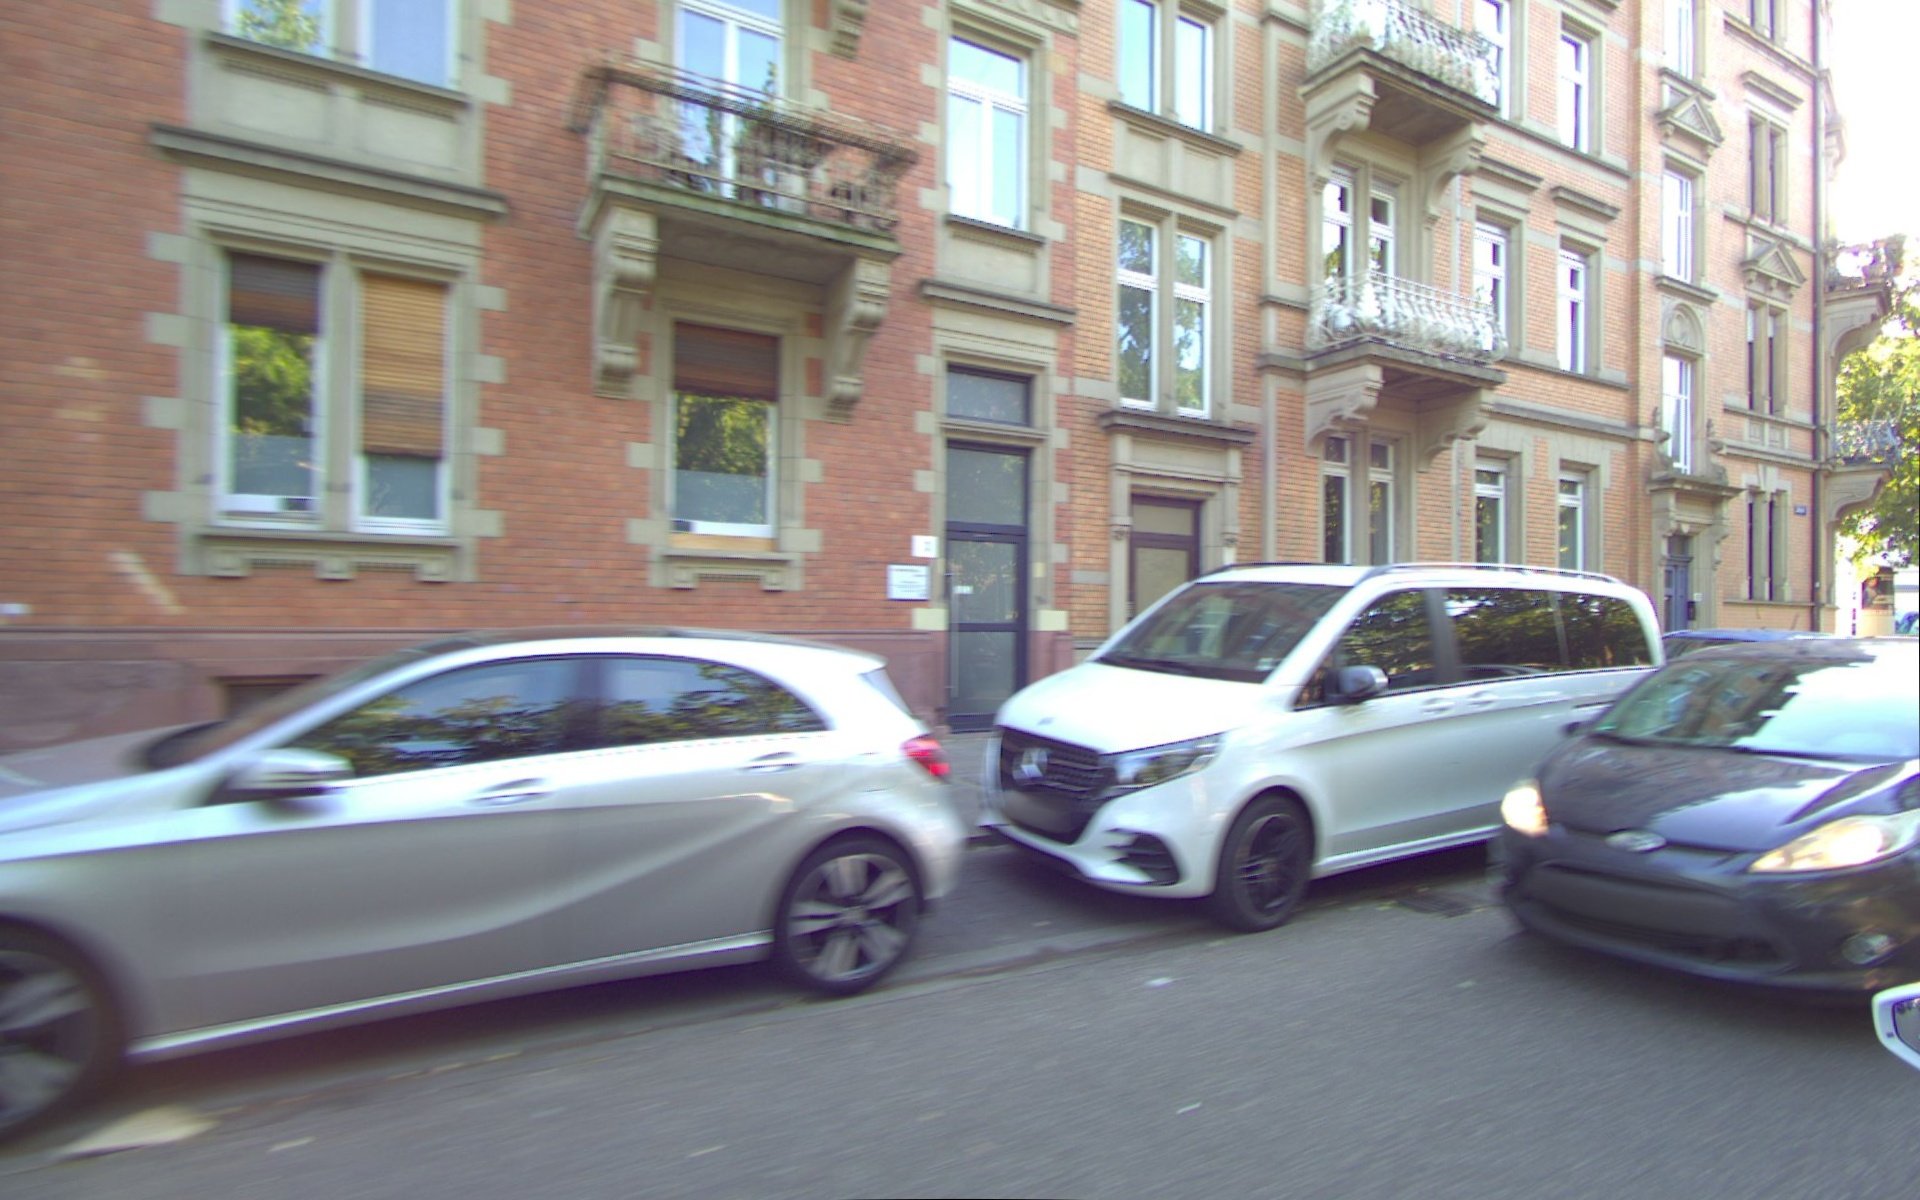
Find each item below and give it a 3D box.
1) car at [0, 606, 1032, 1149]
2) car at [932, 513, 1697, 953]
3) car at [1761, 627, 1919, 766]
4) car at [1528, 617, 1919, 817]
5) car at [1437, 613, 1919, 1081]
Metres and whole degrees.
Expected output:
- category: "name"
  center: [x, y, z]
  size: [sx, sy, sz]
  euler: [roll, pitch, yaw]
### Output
- category: "car"
  center: [-1.898, 0.809, 4.102]
  size: [4.158, 1.473, 1.667]
  euler: [1, -3, -29]
- category: "car"
  center: [2.493, 0.700, 6.584]
  size: [4.983, 1.946, 1.983]
  euler: [3, -1, -31]
- category: "car"
  center: [11.743, 1.079, 12.234]
  size: [4.189, 1.449, 1.663]
  euler: [1, 0, -29]
- category: "car"
  center: [7.339, 0.952, 9.516]
  size: [3.954, 1.506, 1.661]
  euler: [1, 0, -31]
- category: "car"
  center: [4.280, 0.852, 4.960]
  size: [3.957, 1.483, 1.659]
  euler: [1, -3, -33]
